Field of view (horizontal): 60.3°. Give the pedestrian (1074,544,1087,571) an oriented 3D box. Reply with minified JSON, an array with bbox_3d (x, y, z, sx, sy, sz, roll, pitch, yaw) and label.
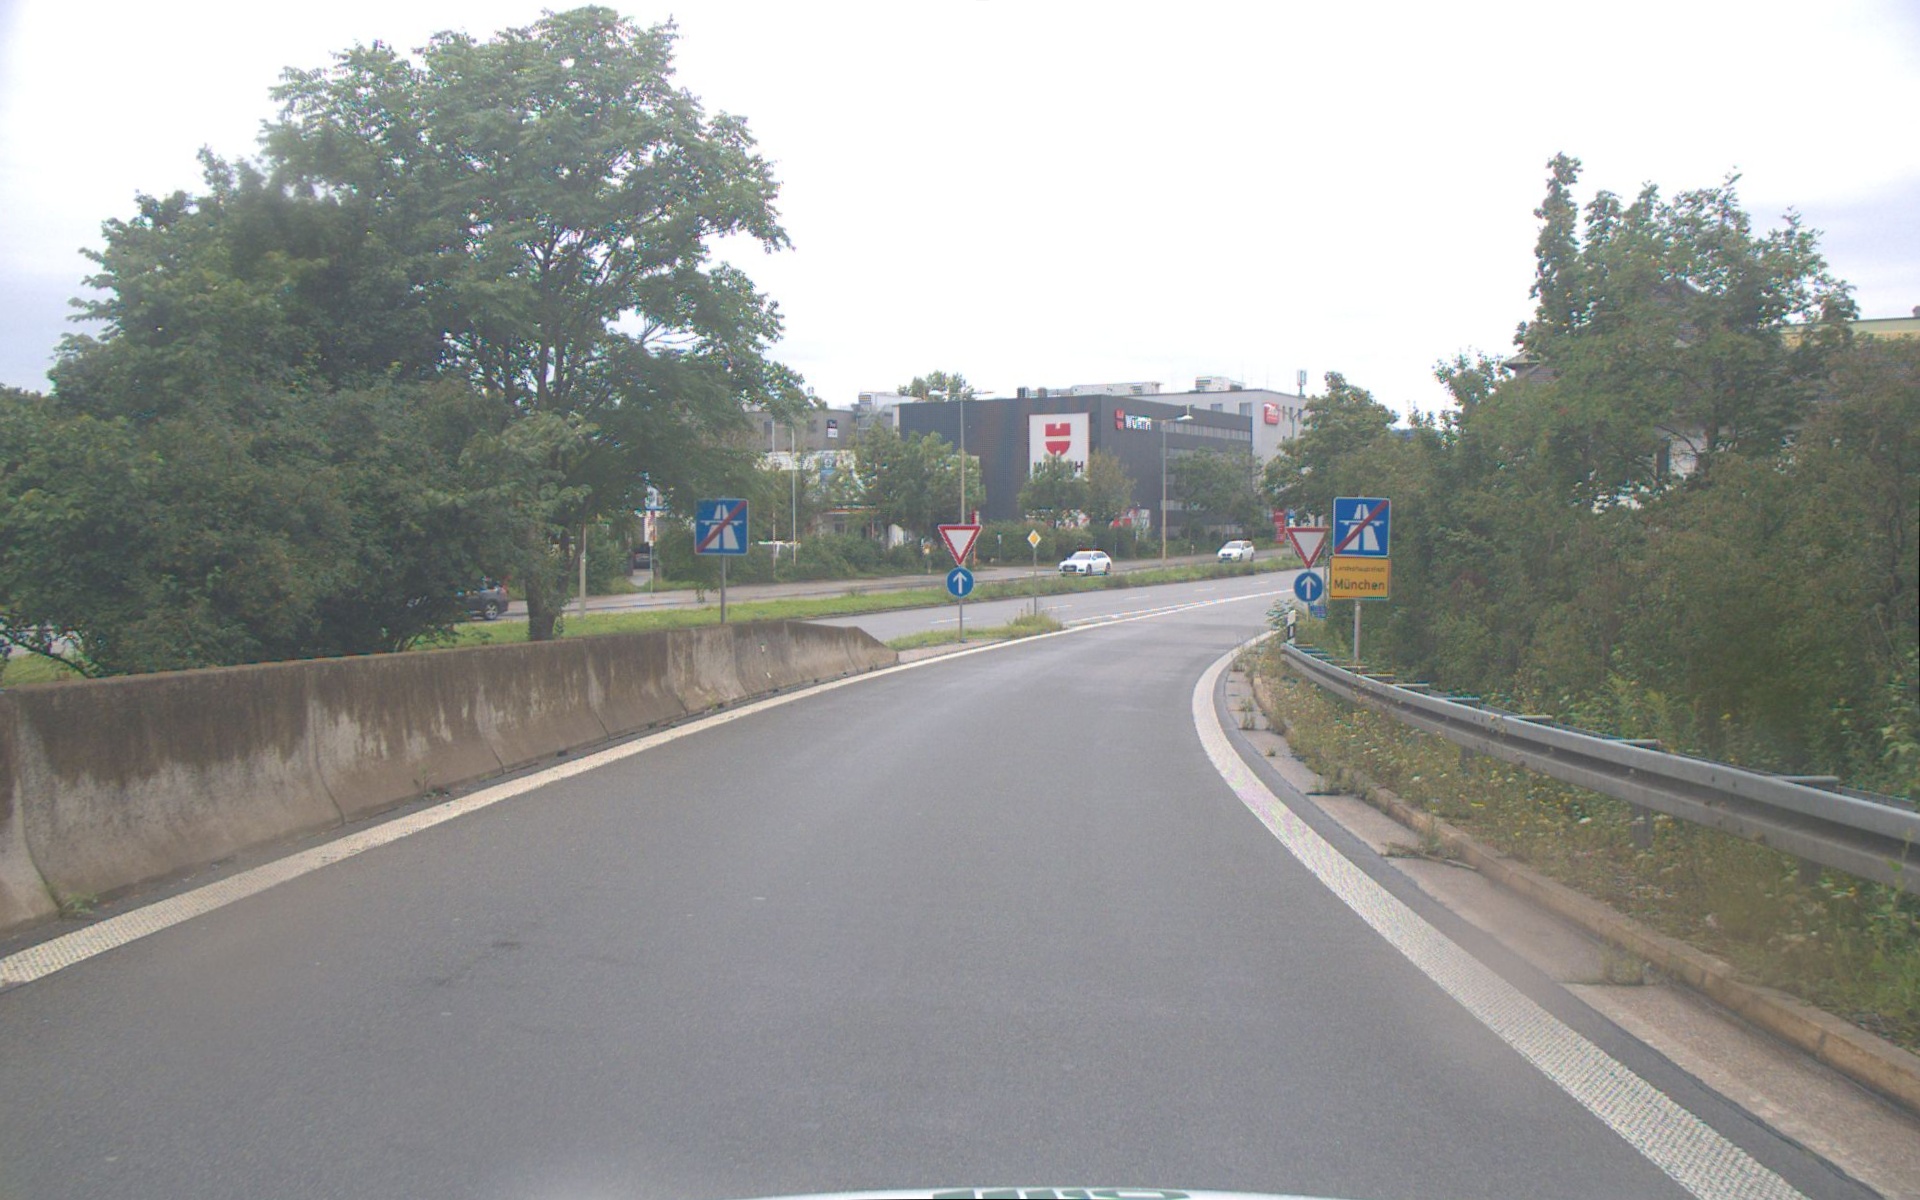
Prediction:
[{"bbox_3d":[8.393,-2.949,114.941,0.610,1.861,0.816,1,3,29],"label":"pedestrian"}]

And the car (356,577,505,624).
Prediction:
[{"bbox_3d":[-17.890,-0.006,56.110,1.932,1.421,4.809,0,2,29],"label":"car"}]

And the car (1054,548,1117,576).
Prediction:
[{"bbox_3d":[7.797,-2.366,102.212,1.956,1.599,5.112,0,3,29],"label":"car"}]

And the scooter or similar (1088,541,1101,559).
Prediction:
[{"bbox_3d":[9.615,-3.580,118.233,0.437,1.248,1.386,1,3,27],"label":"scooter or similar"}]

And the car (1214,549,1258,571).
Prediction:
[{"bbox_3d":[21.123,-3.052,126.415,1.956,1.599,4.568,0,3,29],"label":"car"}]
